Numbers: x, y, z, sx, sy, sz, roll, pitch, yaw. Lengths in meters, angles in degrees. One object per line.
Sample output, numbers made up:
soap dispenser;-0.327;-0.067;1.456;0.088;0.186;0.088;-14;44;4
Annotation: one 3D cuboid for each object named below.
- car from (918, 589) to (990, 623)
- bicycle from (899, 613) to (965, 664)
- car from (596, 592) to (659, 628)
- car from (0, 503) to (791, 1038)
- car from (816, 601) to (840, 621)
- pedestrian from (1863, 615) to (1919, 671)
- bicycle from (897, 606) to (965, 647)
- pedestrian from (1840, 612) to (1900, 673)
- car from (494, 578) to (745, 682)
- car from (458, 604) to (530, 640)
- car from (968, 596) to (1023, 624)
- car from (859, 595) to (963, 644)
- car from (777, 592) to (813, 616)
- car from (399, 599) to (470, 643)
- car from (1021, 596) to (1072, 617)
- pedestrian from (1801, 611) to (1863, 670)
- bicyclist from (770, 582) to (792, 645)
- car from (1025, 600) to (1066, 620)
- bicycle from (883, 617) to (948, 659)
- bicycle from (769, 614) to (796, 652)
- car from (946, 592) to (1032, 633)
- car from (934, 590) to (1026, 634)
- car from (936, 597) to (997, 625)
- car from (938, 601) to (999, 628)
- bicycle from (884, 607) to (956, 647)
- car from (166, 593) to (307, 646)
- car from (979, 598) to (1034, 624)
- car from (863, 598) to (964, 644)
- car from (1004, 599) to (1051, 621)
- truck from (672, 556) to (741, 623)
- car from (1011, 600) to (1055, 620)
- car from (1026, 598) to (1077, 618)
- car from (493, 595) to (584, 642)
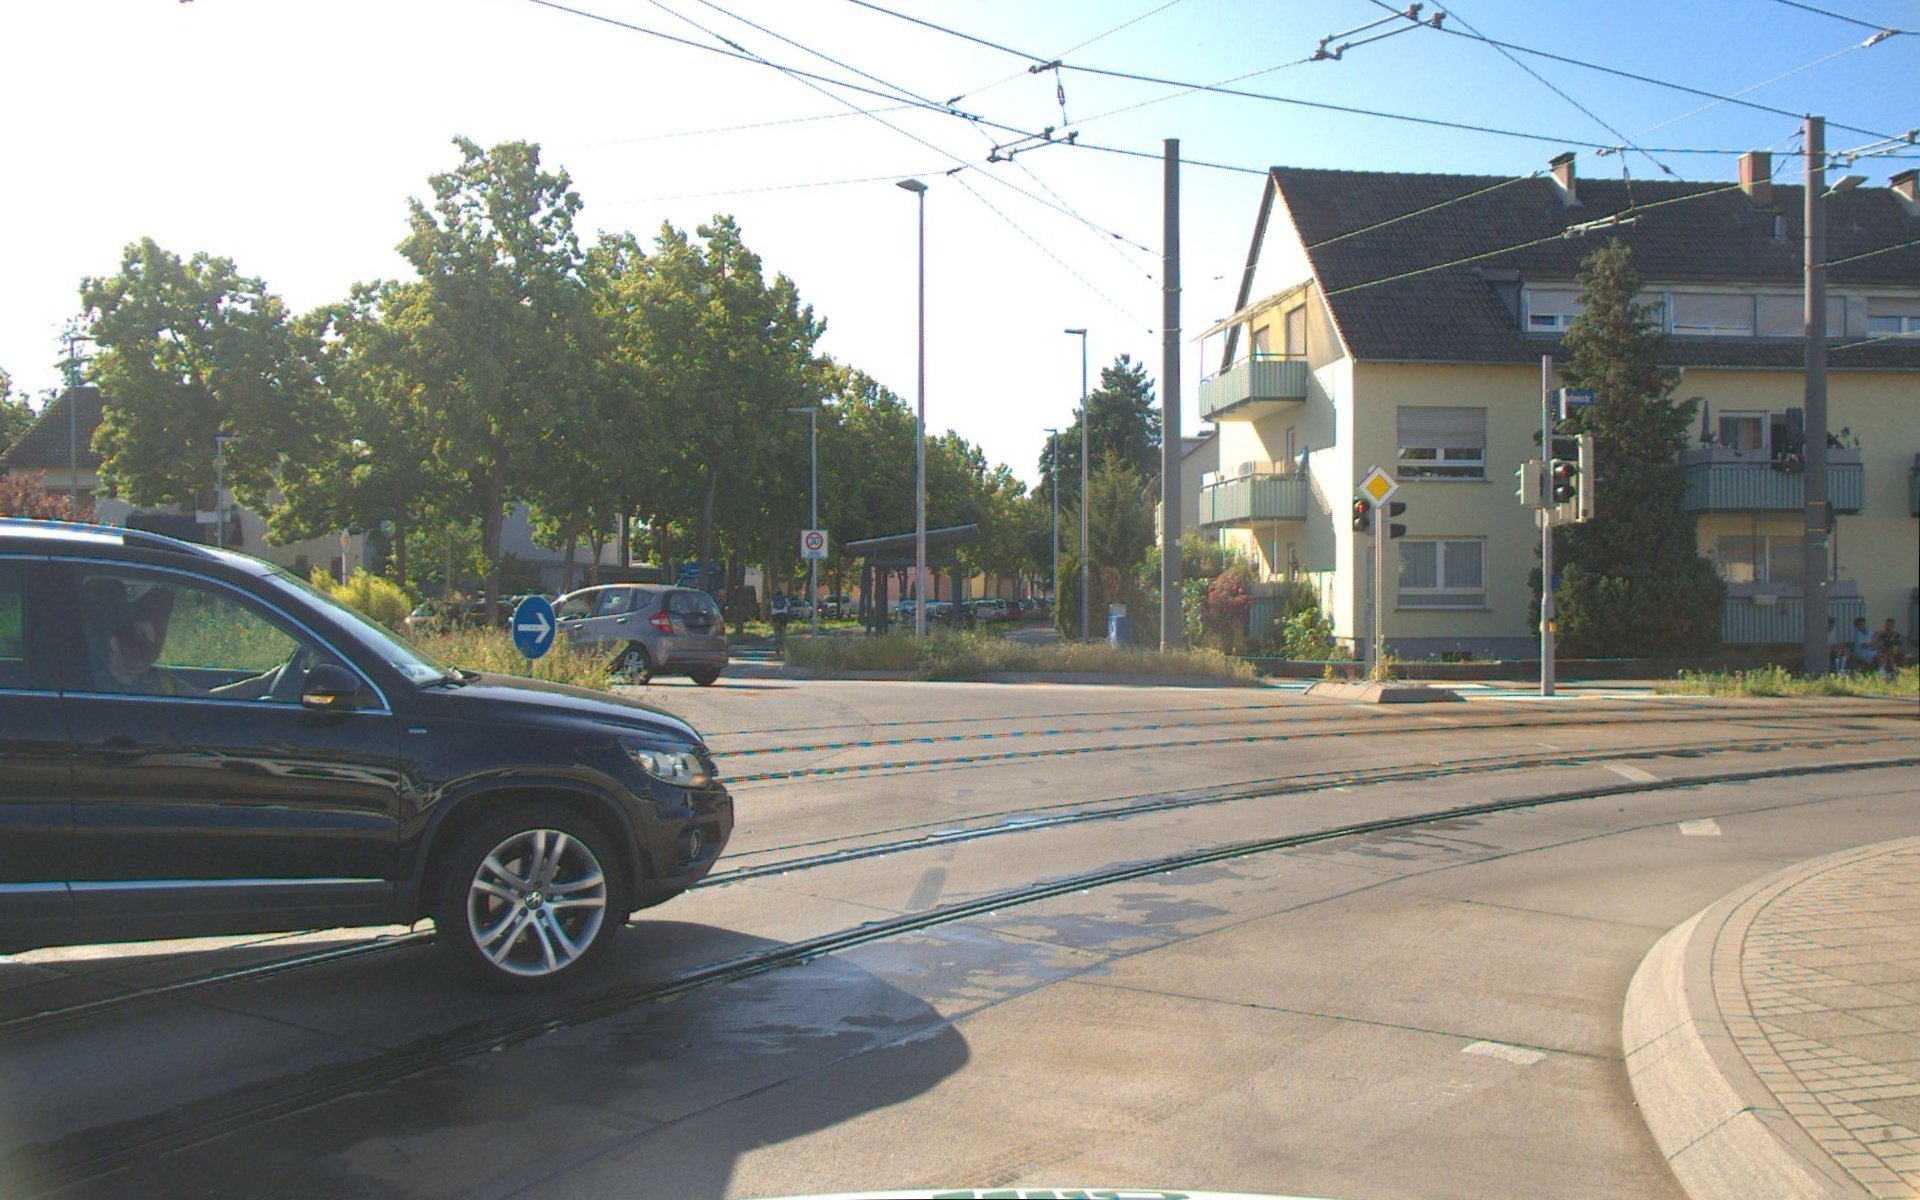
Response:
car;-0.290;0.272;81.001;3.444;1.560;1.578;1;0;1
bicycle;-0.706;0.967;41.792;1.632;1.229;0.688;1;0;-3
car;-17.750;0.536;88.452;1.951;1.804;5.062;1;0;5
car;-2.893;0.508;6.269;4.182;1.699;1.807;0;2;-21
car;-11.133;0.919;139.512;1.613;1.677;3.569;1;0;1
pedestrian;17.491;0.806;31.071;0.587;1.023;0.717;2;0;-30
bicycle;-0.782;0.711;44.588;1.804;1.045;0.688;1;0;-3
pedestrian;16.961;0.788;30.832;0.620;1.083;0.808;2;0;-39
car;-5.355;0.428;25.839;3.834;1.517;1.687;0;0;35
car;-18.864;0.879;67.098;1.922;1.347;3.997;1;0;-3
car;2.124;0.604;99.335;3.290;1.560;1.523;1;0;0
car;-1.665;0.662;57.116;3.444;1.560;1.578;1;0;1
car;-12.632;0.317;126.842;1.951;1.729;4.221;1;0;5
car;-19.325;0.749;60.926;1.765;1.490;3.796;1;0;-7
car;5.922;0.444;113.519;3.444;1.301;1.577;1;0;0
pedestrian;16.140;0.735;30.628;0.673;1.065;0.818;1;0;-8
bicyclist;-5.088;0.381;47.032;0.591;1.744;0.543;0;-4;-7
car;7.231;0.828;140.177;3.444;1.560;1.577;1;0;0
bicycle;-1.162;0.992;43.061;1.656;1.045;0.599;1;0;-3
bicycle;-5.034;0.944;46.882;0.751;1.055;1.532;1;-1;-7
car;1.203;0.508;68.274;3.444;1.560;1.578;1;0;1
car;0.787;0.455;63.870;3.444;1.560;1.578;1;0;1
car;0.392;0.642;93.565;3.340;1.560;1.526;0;0;5
car;0.489;0.839;95.485;3.368;1.419;1.238;1;0;5
bicycle;-1.108;0.732;45.480;1.933;1.045;0.696;1;0;-3
car;-25.045;0.662;57.340;3.953;1.724;2.001;1;0;2
car;2.915;0.672;104.090;3.407;1.519;1.552;1;0;0
car;-1.629;0.738;58.869;3.444;1.560;1.578;1;0;1
car;5.027;0.764;123.474;3.444;1.560;1.577;1;0;0
truck;-16.196;-0.664;106.117;3.006;4.063;8.009;1;0;1
car;5.903;0.791;134.101;3.444;1.560;1.577;1;0;0
car;6.256;0.539;113.533;3.444;1.318;1.577;1;0;0
car;-15.263;0.662;60.148;1.792;1.608;4.443;1;0;5
